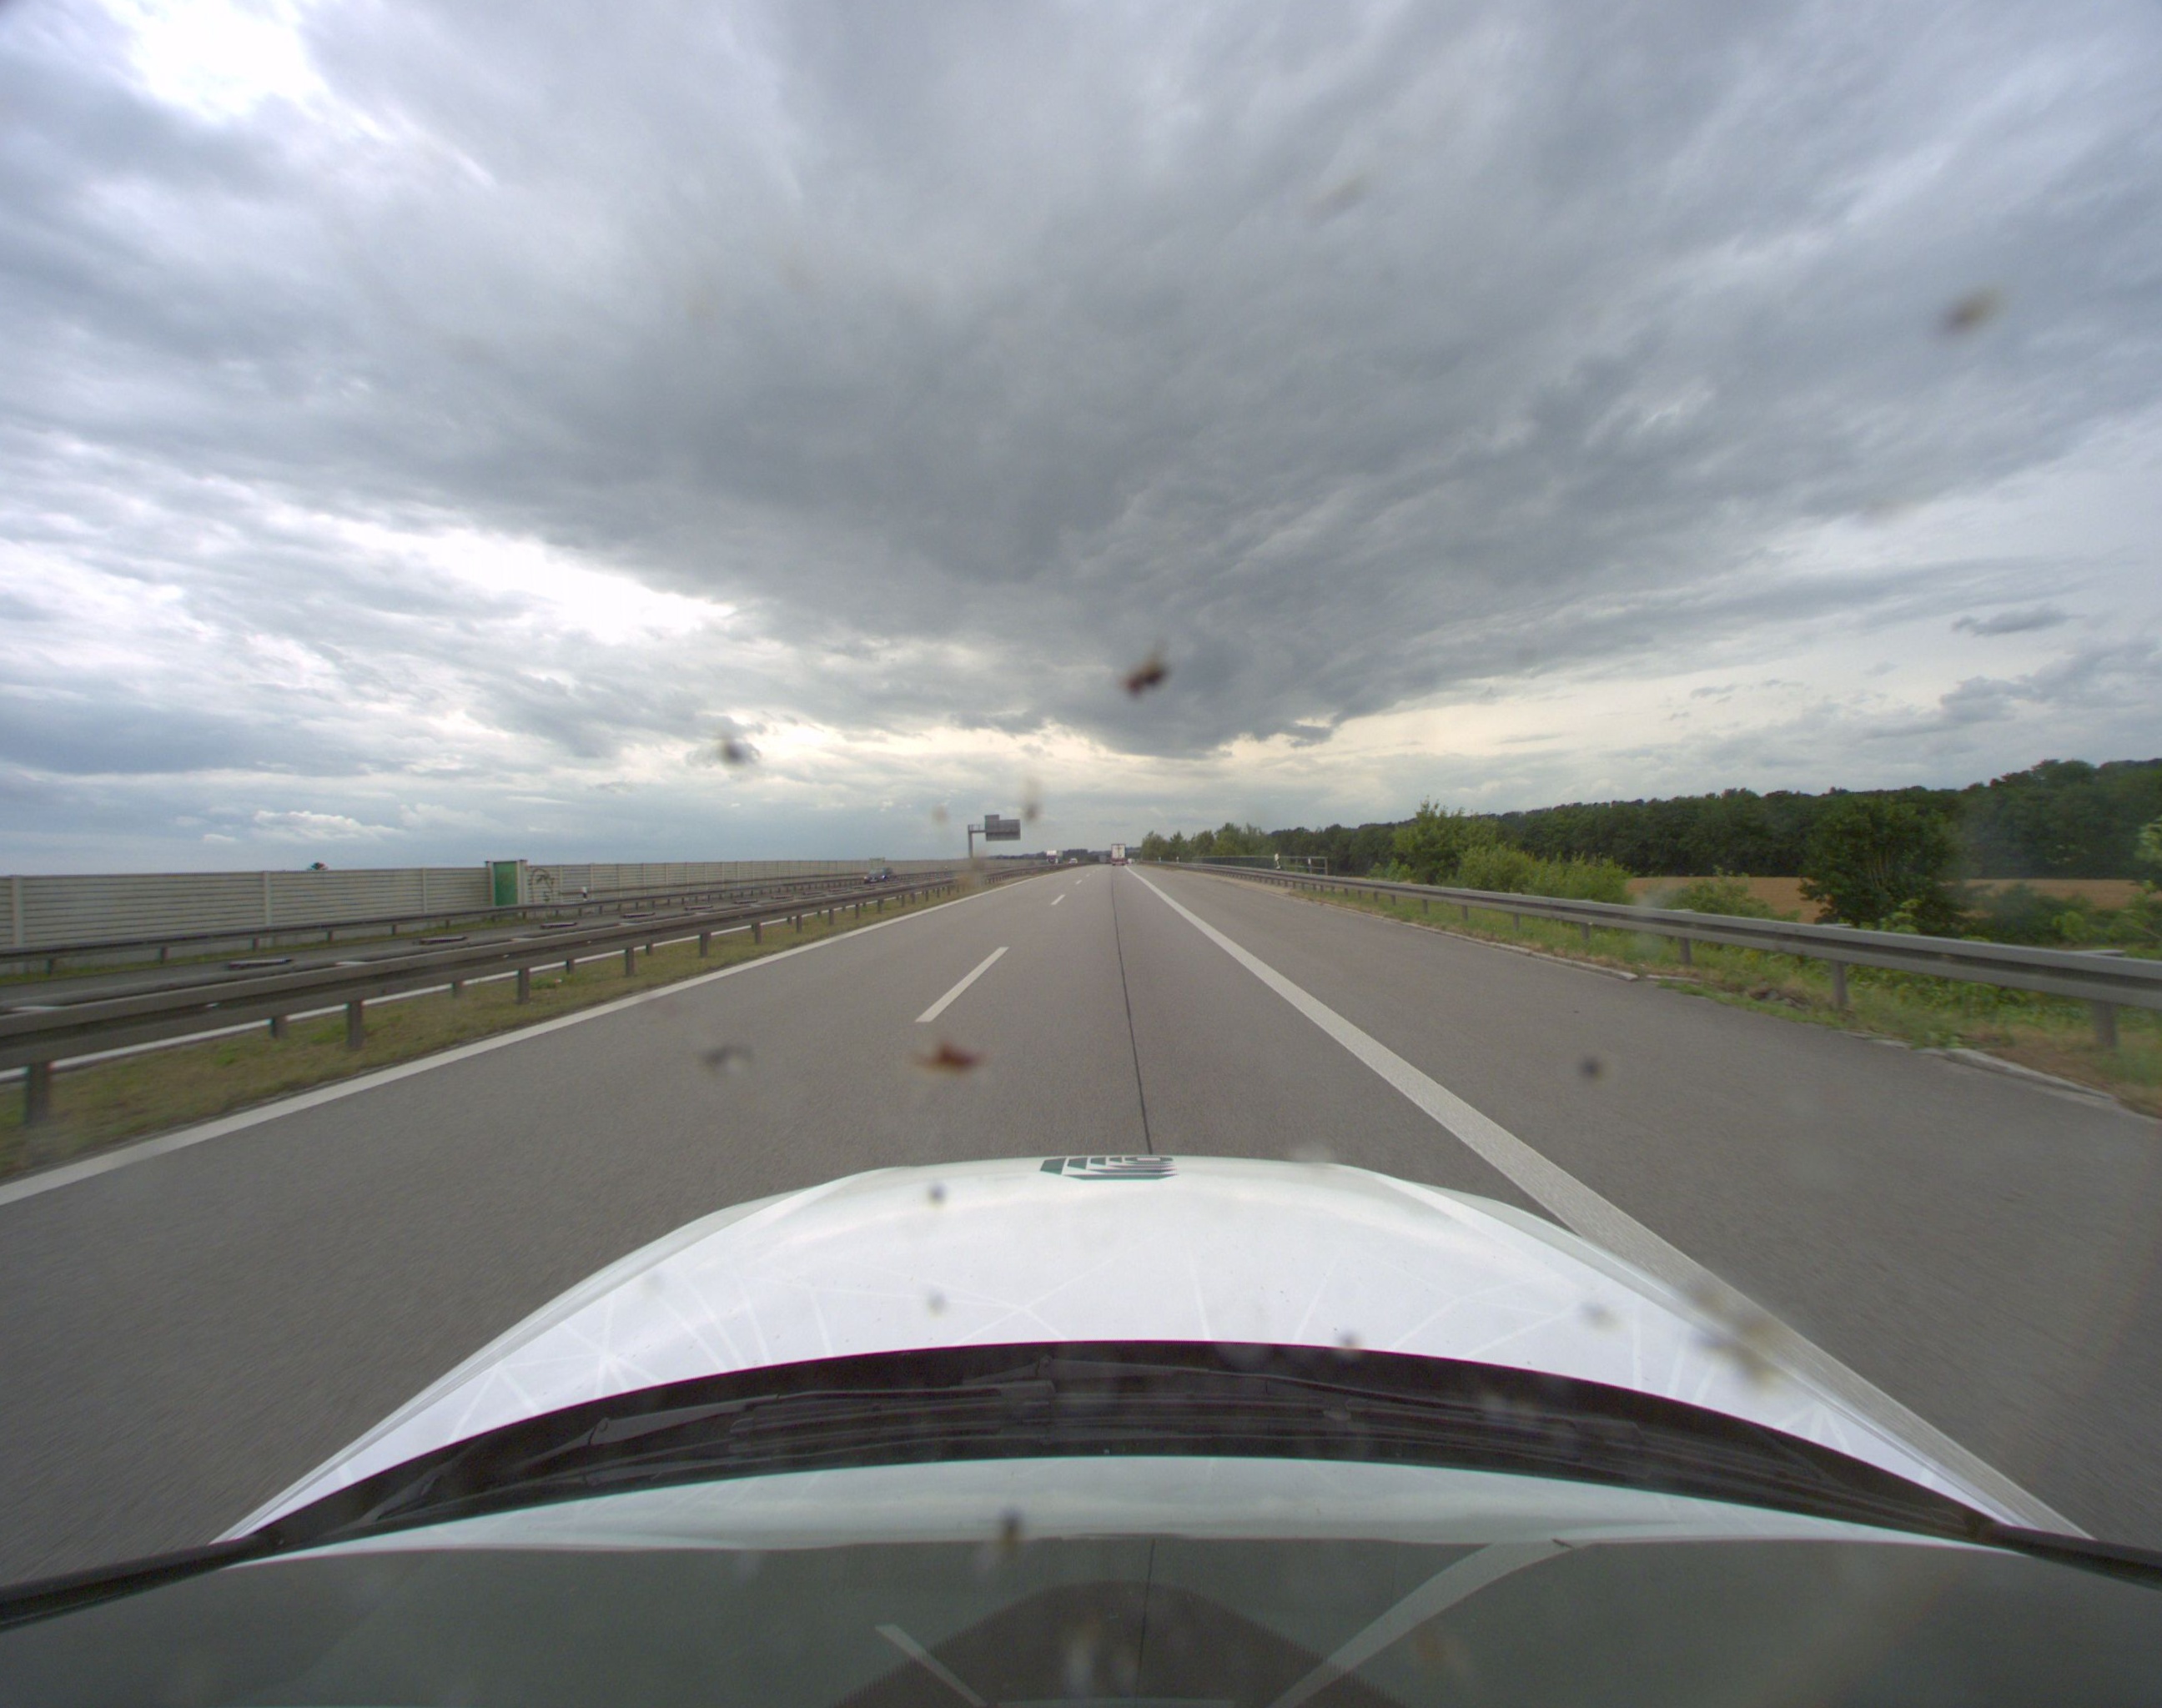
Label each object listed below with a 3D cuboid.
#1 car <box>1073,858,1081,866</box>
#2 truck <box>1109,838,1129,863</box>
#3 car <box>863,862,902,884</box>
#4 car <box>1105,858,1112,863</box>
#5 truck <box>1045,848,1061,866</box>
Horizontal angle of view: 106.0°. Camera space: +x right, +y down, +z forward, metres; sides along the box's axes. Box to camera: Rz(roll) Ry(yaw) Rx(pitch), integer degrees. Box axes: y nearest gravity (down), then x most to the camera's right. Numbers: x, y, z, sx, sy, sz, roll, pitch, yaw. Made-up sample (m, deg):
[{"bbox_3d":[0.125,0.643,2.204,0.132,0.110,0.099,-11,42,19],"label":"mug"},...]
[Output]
[{"bbox_3d":[-0.947,1.986,199.800,1.807,1.847,4.183,3,-1,2],"label":"car"},{"bbox_3d":[7.395,-0.573,158.328,3.657,4.412,16.351,-2,-1,3],"label":"truck"},{"bbox_3d":[-15.562,1.450,64.031,1.697,1.494,4.568,-4,0,2],"label":"car"},{"bbox_3d":[8.553,2.017,251.417,1.987,1.420,3.999,-1,0,0],"label":"car"},{"bbox_3d":[-6.592,0.704,193.014,3.097,4.014,7.328,-4,-1,2],"label":"truck"}]
